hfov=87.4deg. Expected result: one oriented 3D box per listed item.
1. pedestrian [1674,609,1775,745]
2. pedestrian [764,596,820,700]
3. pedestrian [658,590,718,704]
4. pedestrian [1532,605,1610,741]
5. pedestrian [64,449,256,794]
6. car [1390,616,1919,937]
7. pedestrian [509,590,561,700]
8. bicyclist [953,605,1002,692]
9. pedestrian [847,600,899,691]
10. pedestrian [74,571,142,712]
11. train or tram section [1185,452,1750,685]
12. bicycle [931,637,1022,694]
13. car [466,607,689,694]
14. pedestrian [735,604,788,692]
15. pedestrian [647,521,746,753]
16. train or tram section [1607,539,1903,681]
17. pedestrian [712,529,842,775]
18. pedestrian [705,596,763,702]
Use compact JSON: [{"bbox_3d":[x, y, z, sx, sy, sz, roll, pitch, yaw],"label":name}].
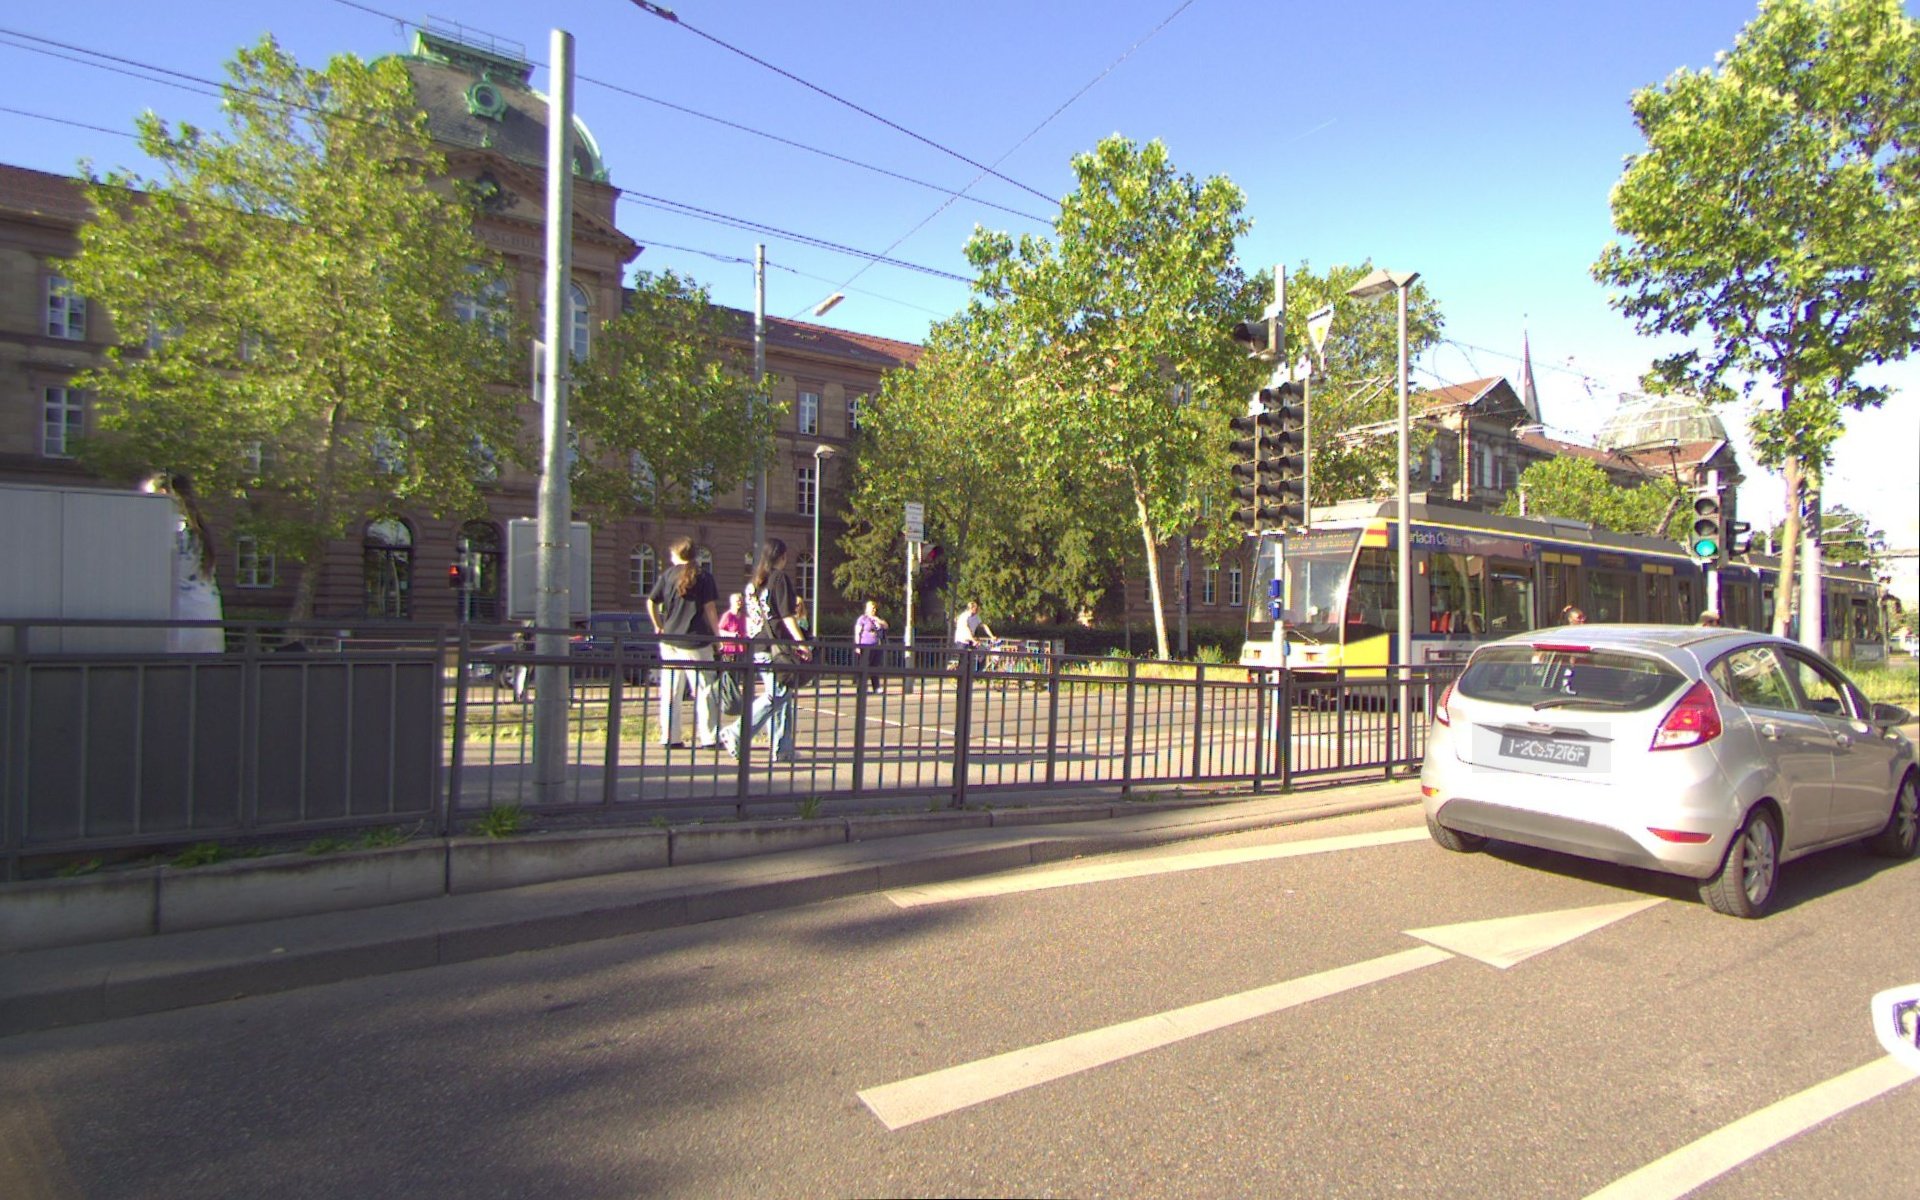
[{"bbox_3d":[9.712,0.950,12.789,0.927,1.650,0.627,1,-1,31],"label":"pedestrian"},{"bbox_3d":[-2.830,0.805,16.937,0.699,1.701,0.613,2,-2,-38],"label":"pedestrian"},{"bbox_3d":[-4.329,0.730,16.009,0.620,1.766,0.710,0,-1,18],"label":"pedestrian"},{"bbox_3d":[7.381,0.861,12.135,0.641,1.577,0.626,2,-2,-38],"label":"pedestrian"},{"bbox_3d":[-4.115,0.123,5.209,0.635,1.640,0.635,5,-3,-37],"label":"pedestrian"},{"bbox_3d":[4.518,0.873,6.254,3.593,1.428,1.651,2,-1,-33],"label":"car"},{"bbox_3d":[-6.715,0.706,15.875,0.700,1.686,0.629,1,-1,-24],"label":"pedestrian"},{"bbox_3d":[0.348,0.925,19.596,0.655,1.648,0.653,2,-1,-45],"label":"bicyclist"},{"bbox_3d":[-1.586,0.824,18.274,0.699,1.603,0.613,2,-2,-38],"label":"pedestrian"},{"bbox_3d":[-10.889,0.525,12.853,0.538,1.750,0.522,1,-1,-30],"label":"pedestrian"},{"bbox_3d":[11.009,-0.126,19.928,15.737,3.303,2.895,3,-1,-35],"label":"train or tram section"},{"bbox_3d":[0.306,1.251,19.590,0.830,0.999,1.649,2,-1,-44],"label":"bicycle"},{"bbox_3d":[-8.360,1.098,22.053,4.187,1.684,1.981,3,0,-35],"label":"car"},{"bbox_3d":[-3.682,0.880,18.627,0.770,1.582,0.704,1,-1,-29],"label":"pedestrian"},{"bbox_3d":[-2.073,0.287,7.878,0.541,1.724,0.604,2,-2,-38],"label":"pedestrian"},{"bbox_3d":[22.719,0.499,28.229,12.984,3.303,2.895,3,-1,-35],"label":"train or tram section"},{"bbox_3d":[-1.377,0.379,7.544,0.740,1.724,0.628,2,-2,-38],"label":"pedestrian"},{"bbox_3d":[-3.675,0.784,16.356,0.704,1.671,0.626,2,-2,-38],"label":"pedestrian"}]
